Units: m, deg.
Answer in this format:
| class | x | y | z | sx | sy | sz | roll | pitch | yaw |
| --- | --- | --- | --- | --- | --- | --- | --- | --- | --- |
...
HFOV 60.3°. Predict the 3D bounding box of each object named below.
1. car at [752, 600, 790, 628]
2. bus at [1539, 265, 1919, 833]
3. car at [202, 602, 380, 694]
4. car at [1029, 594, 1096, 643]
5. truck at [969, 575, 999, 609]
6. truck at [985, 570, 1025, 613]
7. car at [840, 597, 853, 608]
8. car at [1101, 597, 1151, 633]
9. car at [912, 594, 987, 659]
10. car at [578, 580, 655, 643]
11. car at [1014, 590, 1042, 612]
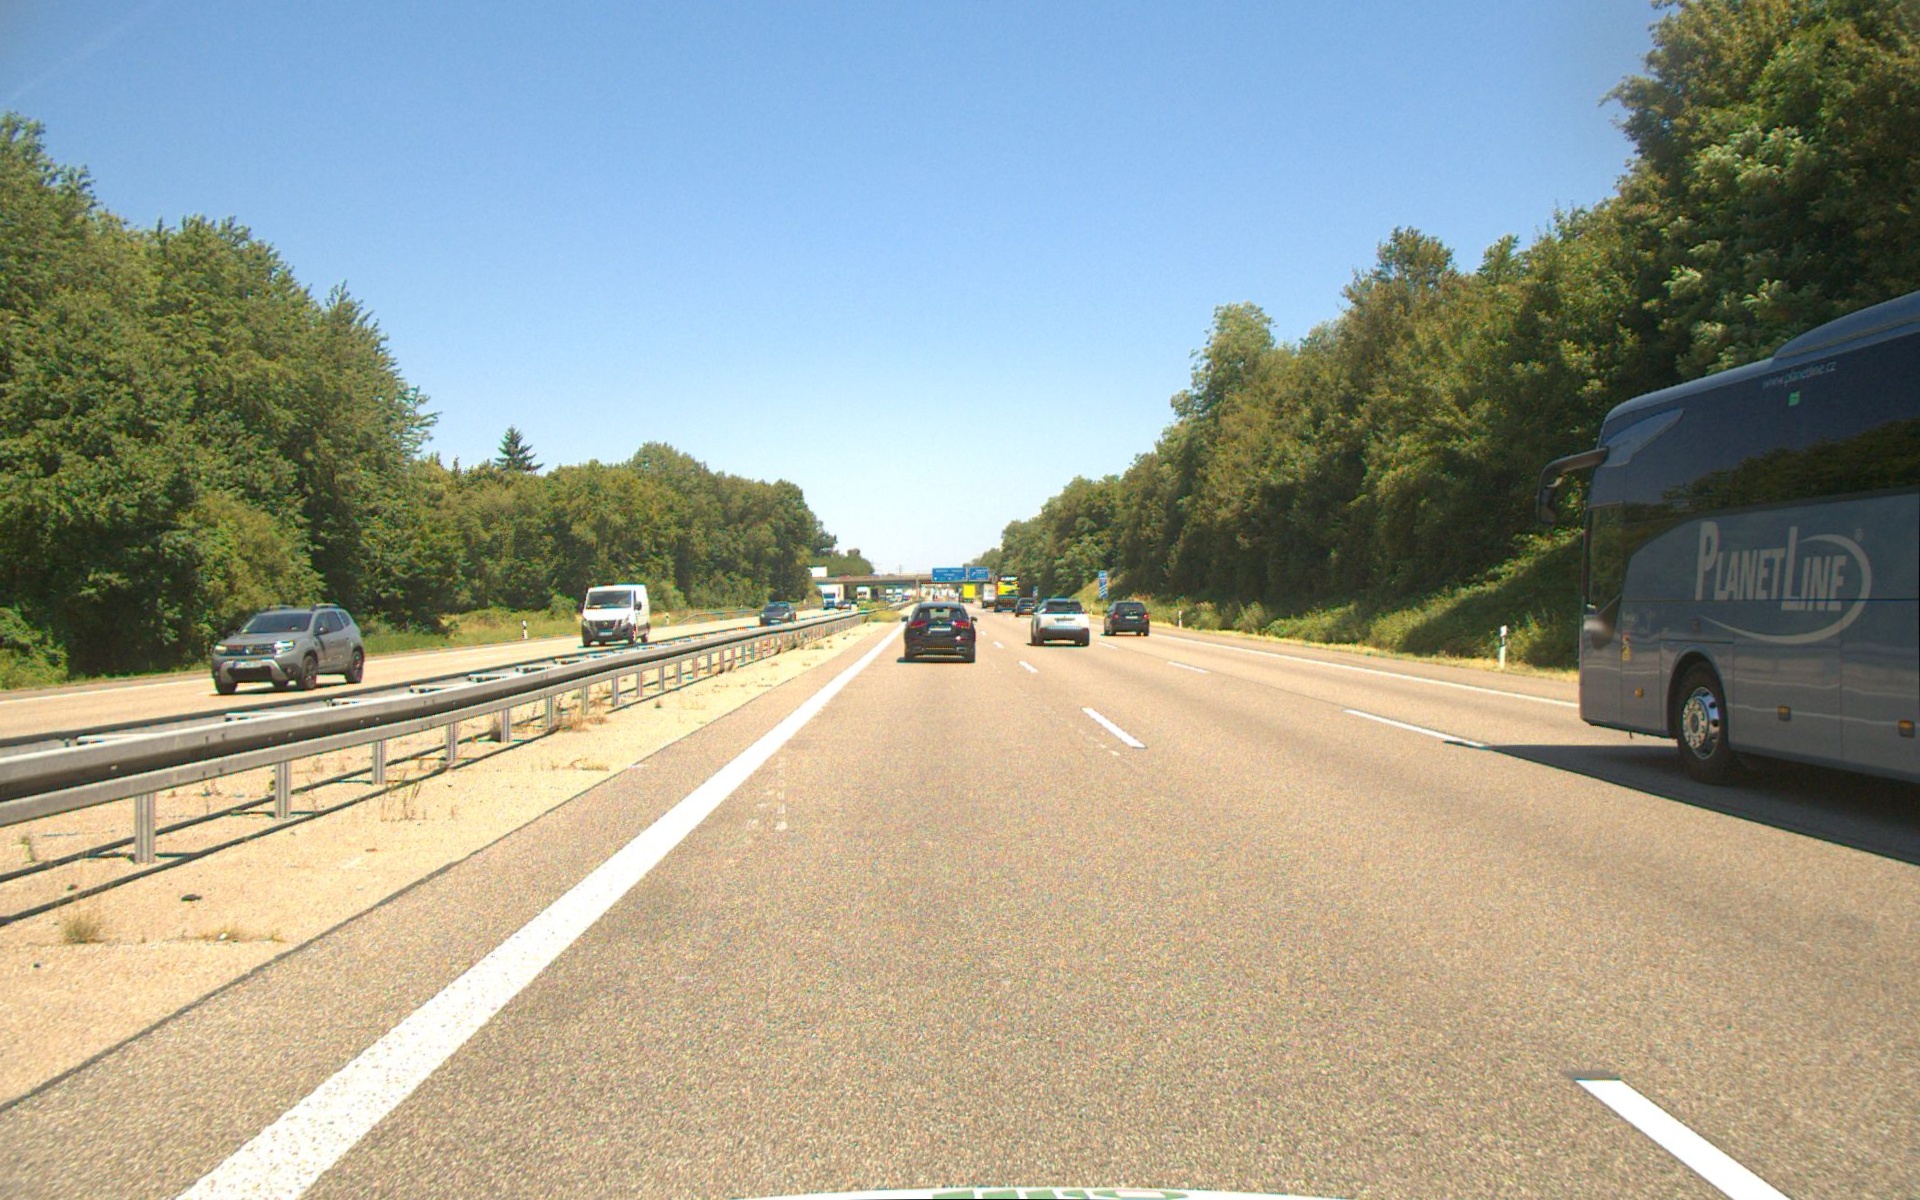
| class | x | y | z | sx | sy | sz | roll | pitch | yaw |
| --- | --- | --- | --- | --- | --- | --- | --- | --- | --- |
| car | -10.824 | 0.765 | 94.989 | 1.769 | 1.506 | 4.566 | -1 | 0 | -2 |
| bus | 7.543 | -0.331 | 10.897 | 2.746 | 3.659 | 12.469 | 0 | 0 | -2 |
| car | -13.487 | 0.901 | 33.664 | 1.783 | 1.659 | 4.796 | -2 | 0 | -2 |
| car | 3.404 | 0.587 | 55.703 | 1.861 | 1.559 | 4.240 | 0 | 0 | -2 |
| truck | 3.428 | -1.103 | 241.633 | 3.574 | 4.670 | 17.240 | 1 | 0 | -2 |
| truck | 4.934 | -0.912 | 185.472 | 3.574 | 4.670 | 15.760 | 1 | 0 | -2 |
| car | -16.611 | 0.366 | 241.675 | 1.763 | 1.559 | 4.676 | 0 | 0 | -2 |
| car | 7.104 | 0.613 | 70.906 | 1.753 | 1.487 | 3.949 | 0 | 0 | 0 |
| car | -0.305 | 0.610 | 41.302 | 1.763 | 1.528 | 4.240 | 0 | 0 | -2 |
| car | -13.432 | 0.420 | 64.967 | 2.045 | 2.328 | 5.275 | -1 | 0 | -2 |
| car | 5.671 | 0.073 | 138.477 | 2.034 | 1.781 | 4.240 | -2 | 0 | -2 |
